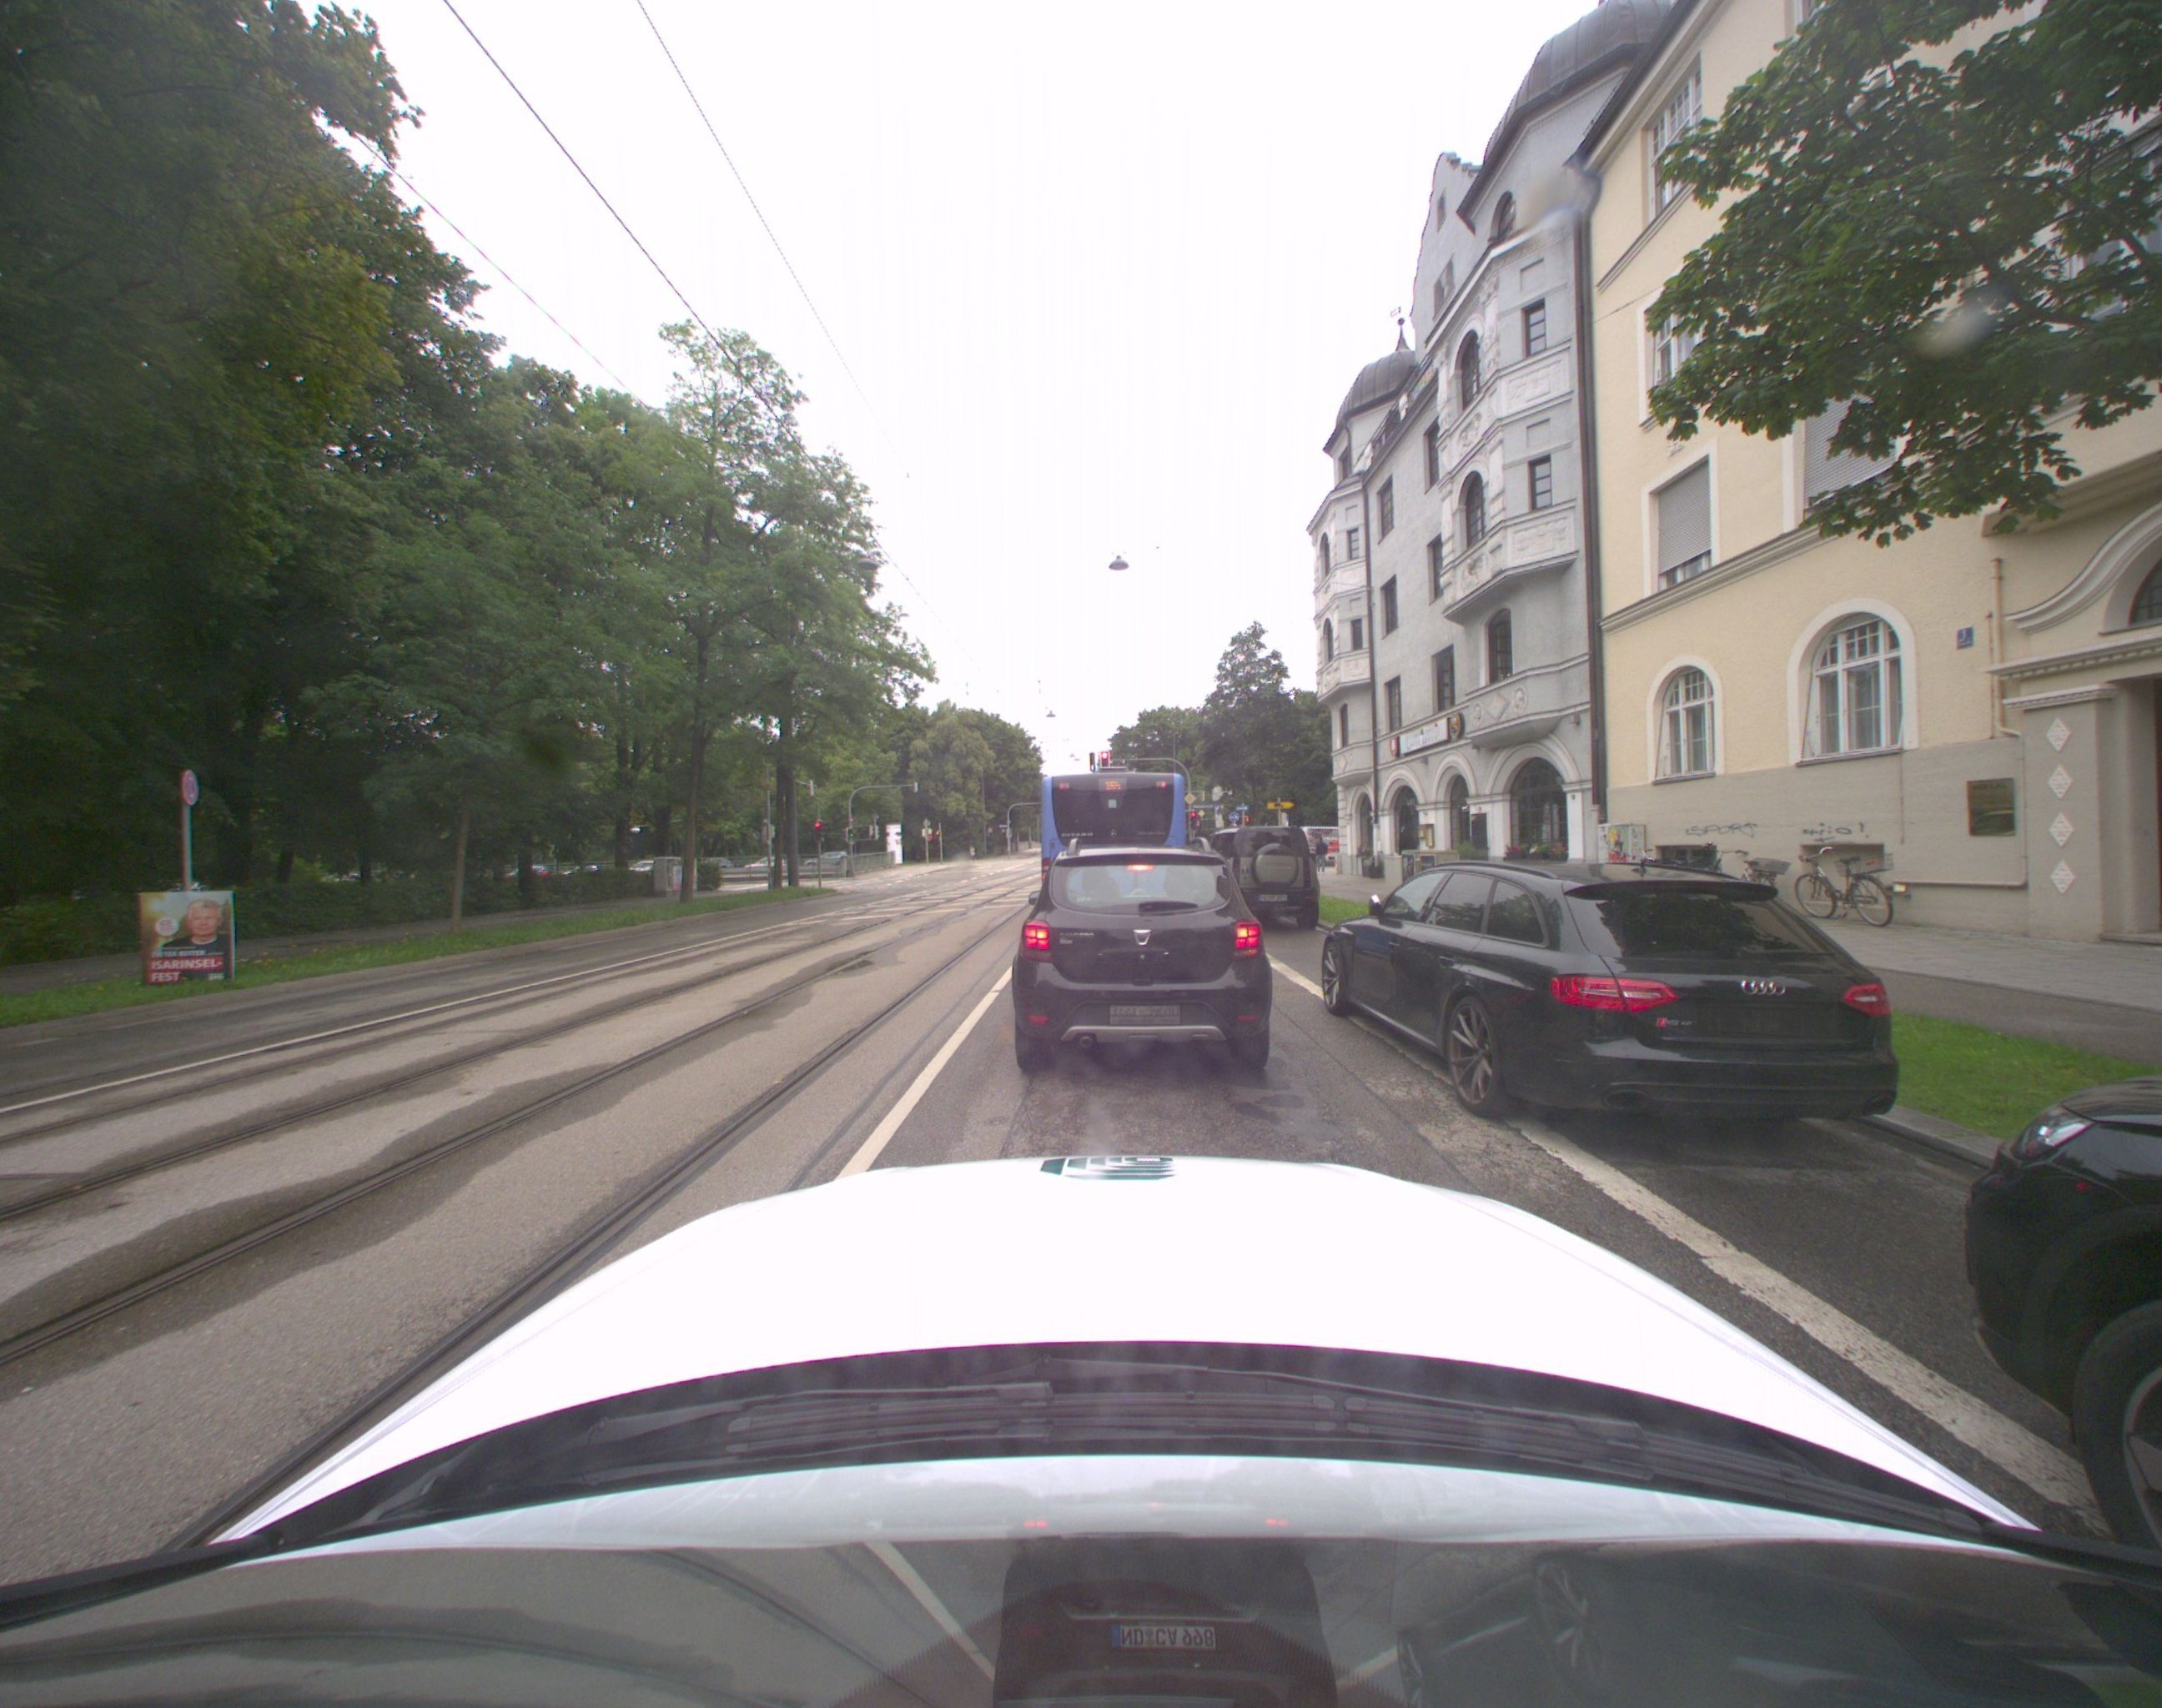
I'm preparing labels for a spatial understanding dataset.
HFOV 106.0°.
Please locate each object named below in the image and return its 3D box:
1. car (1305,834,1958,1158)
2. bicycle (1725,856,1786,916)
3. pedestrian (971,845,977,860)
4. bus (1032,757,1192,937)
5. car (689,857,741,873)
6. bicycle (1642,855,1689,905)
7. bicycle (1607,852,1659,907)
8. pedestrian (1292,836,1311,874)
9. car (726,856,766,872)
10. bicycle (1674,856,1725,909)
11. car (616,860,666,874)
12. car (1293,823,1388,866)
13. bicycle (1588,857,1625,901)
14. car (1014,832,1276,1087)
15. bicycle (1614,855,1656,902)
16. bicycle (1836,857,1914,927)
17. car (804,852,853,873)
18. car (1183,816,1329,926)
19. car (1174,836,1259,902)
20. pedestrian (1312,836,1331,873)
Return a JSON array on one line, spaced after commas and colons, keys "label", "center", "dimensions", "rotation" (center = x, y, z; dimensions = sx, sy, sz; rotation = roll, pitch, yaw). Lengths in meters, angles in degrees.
[{"label": "car", "center": [3.056, 0.625, 5.890], "dimensions": [1.709, 1.426, 4.603], "rotation": [0, 0, 1]}, {"label": "bicycle", "center": [10.994, 0.505, 13.291], "dimensions": [0.284, 0.930, 0.886], "rotation": [0, 0, 3]}, {"label": "pedestrian", "center": [-10.991, -0.148, 83.506], "dimensions": [0.529, 1.501, 0.589], "rotation": [0, 0, 6]}, {"label": "bus", "center": [0.523, -0.119, 17.102], "dimensions": [2.670, 2.997, 6.960], "rotation": [0, 0, 0]}, {"label": "car", "center": [-32.982, 1.015, 73.398], "dimensions": [3.915, 1.404, 1.719], "rotation": [0, 0, -3]}, {"label": "bicycle", "center": [11.186, 0.488, 15.595], "dimensions": [0.304, 0.930, 0.886], "rotation": [0, 0, 4]}, {"label": "bicycle", "center": [10.808, 0.483, 15.975], "dimensions": [0.241, 1.039, 1.224], "rotation": [0, 0, 2]}, {"label": "pedestrian", "center": [10.582, 0.038, 39.115], "dimensions": [0.702, 1.816, 0.870], "rotation": [0, 0, 2]}, {"label": "car", "center": [-30.155, 0.886, 73.324], "dimensions": [3.103, 1.452, 1.249], "rotation": [0, 0, -4]}, {"label": "bicycle", "center": [11.095, 0.495, 14.627], "dimensions": [0.271, 0.930, 0.886], "rotation": [0, 0, 3]}, {"label": "car", "center": [-39.444, 1.159, 73.060], "dimensions": [3.720, 1.185, 1.249], "rotation": [0, 0, -4]}, {"label": "car", "center": [16.249, -0.597, 51.217], "dimensions": [5.281, 2.612, 2.229], "rotation": [0, 0, -2]}, {"label": "bicycle", "center": [11.278, 0.521, 17.492], "dimensions": [0.258, 0.930, 0.886], "rotation": [0, 0, 3]}, {"label": "car", "center": [0.433, 0.641, 6.729], "dimensions": [1.595, 1.556, 3.526], "rotation": [0, 0, 1]}, {"label": "bicycle", "center": [11.250, 0.485, 16.555], "dimensions": [0.289, 0.930, 0.886], "rotation": [0, 0, 3]}, {"label": "bicycle", "center": [10.983, 0.510, 11.285], "dimensions": [0.220, 0.930, 0.886], "rotation": [0, 0, 1]}, {"label": "car", "center": [-22.937, 0.752, 73.978], "dimensions": [4.015, 1.887, 1.488], "rotation": [0, 0, -5]}, {"label": "car", "center": [3.338, 0.295, 16.532], "dimensions": [1.908, 1.905, 4.807], "rotation": [0, 0, 0]}, {"label": "car", "center": [3.567, 0.366, 22.107], "dimensions": [1.708, 1.591, 4.329], "rotation": [0, 0, 2]}, {"label": "pedestrian", "center": [11.361, 0.044, 38.467], "dimensions": [0.702, 1.732, 0.843], "rotation": [0, 0, 2]}]
